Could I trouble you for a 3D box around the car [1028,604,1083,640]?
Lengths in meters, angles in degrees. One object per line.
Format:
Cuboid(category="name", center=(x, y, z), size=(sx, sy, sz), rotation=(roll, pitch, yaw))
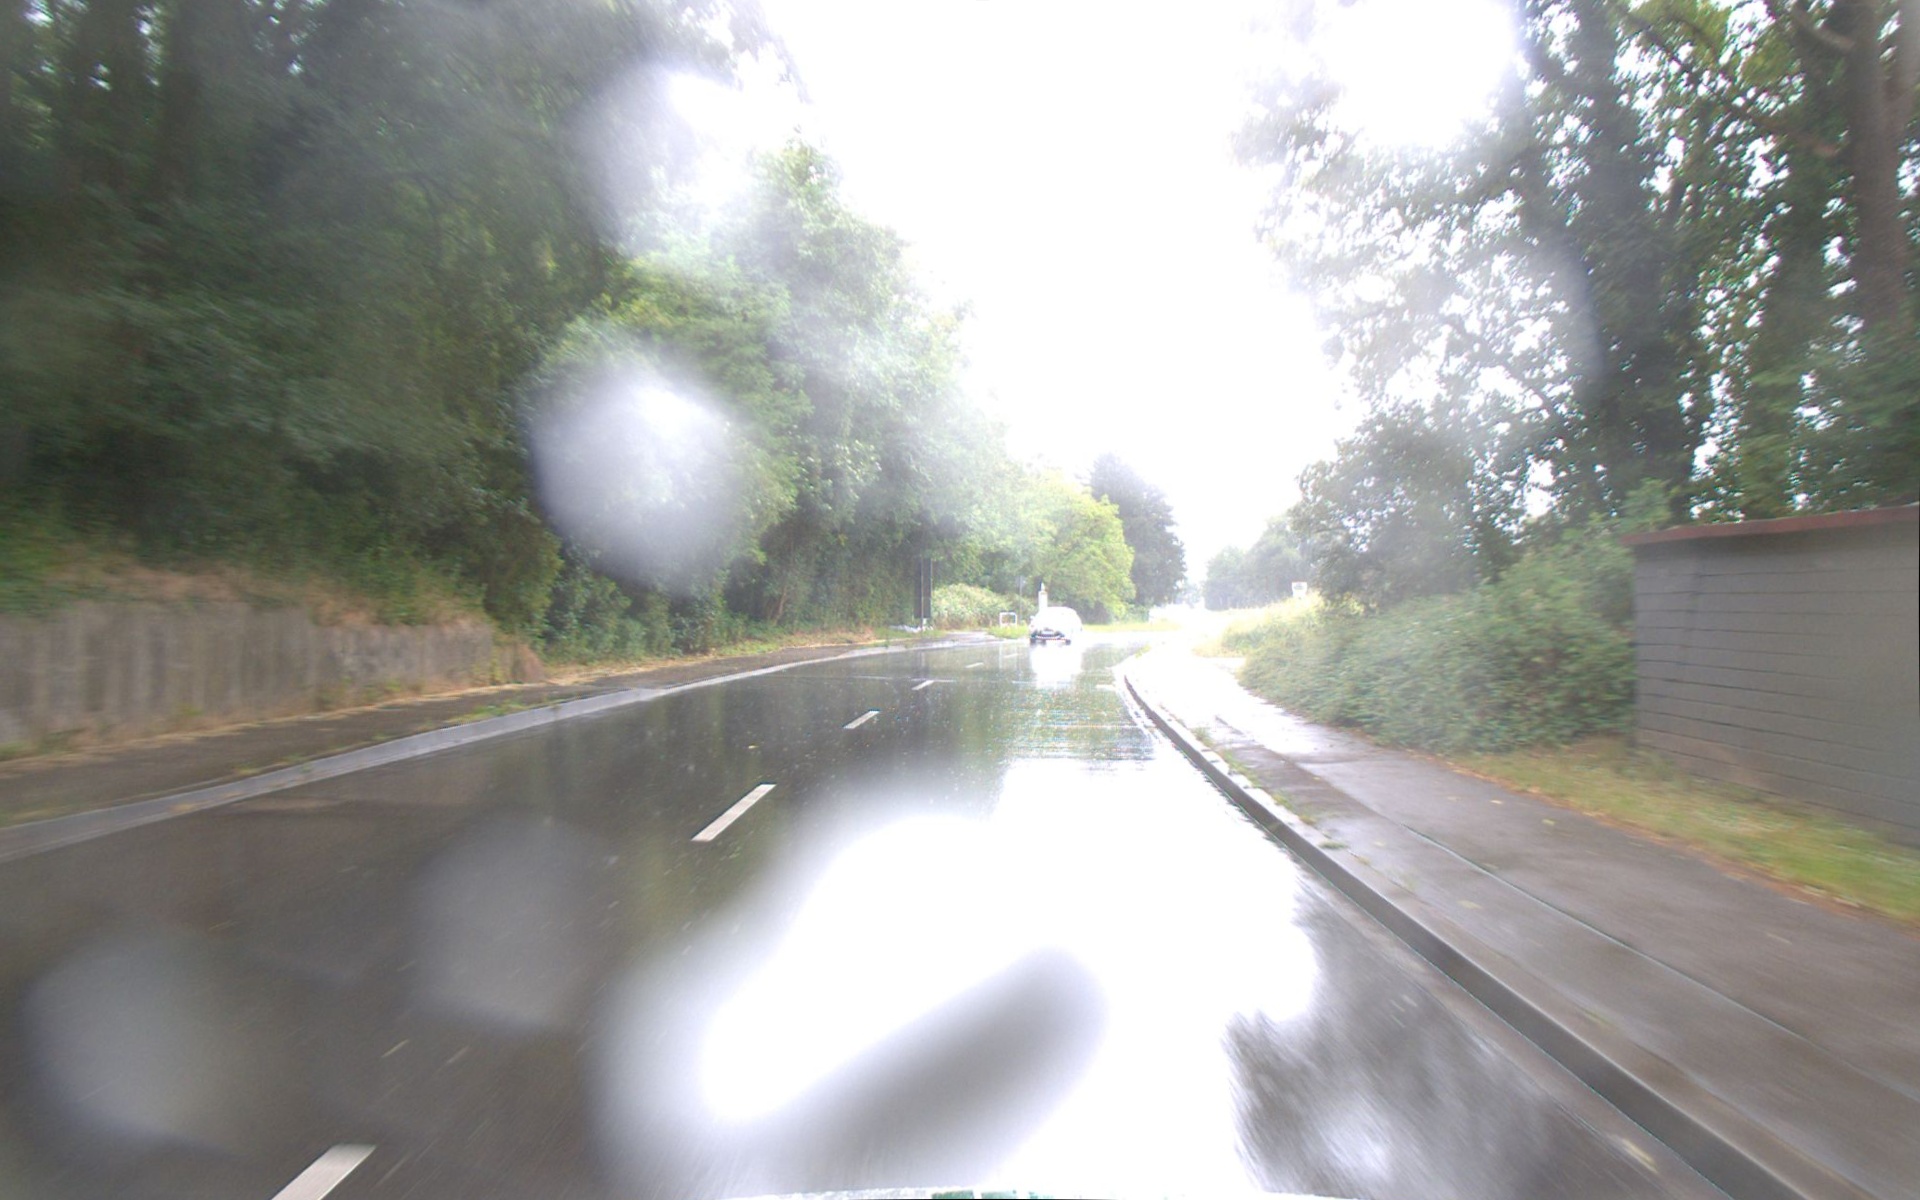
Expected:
Cuboid(category="car", center=(4.052, 0.895, 69.607), size=(1.748, 1.443, 4.638), rotation=(1, 0, 10))
